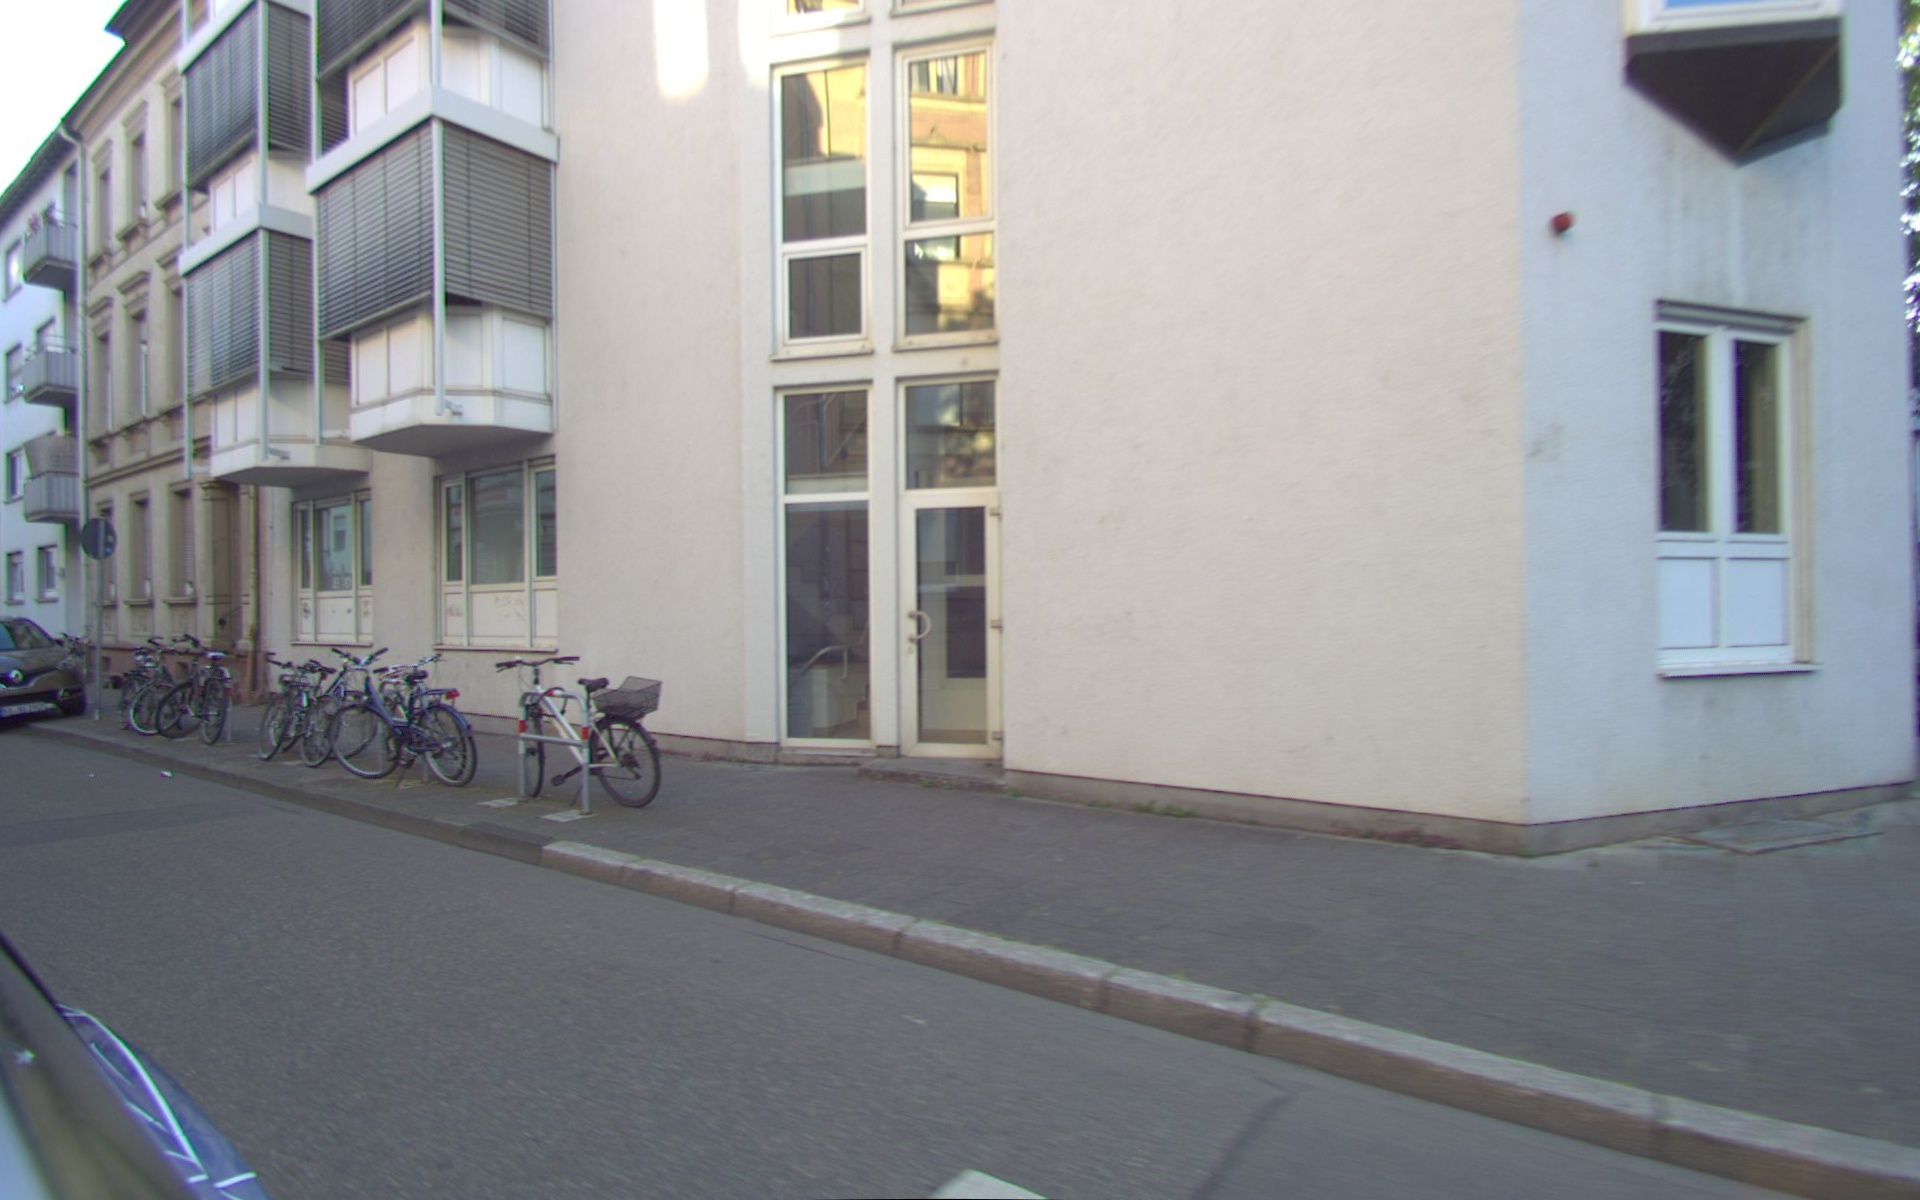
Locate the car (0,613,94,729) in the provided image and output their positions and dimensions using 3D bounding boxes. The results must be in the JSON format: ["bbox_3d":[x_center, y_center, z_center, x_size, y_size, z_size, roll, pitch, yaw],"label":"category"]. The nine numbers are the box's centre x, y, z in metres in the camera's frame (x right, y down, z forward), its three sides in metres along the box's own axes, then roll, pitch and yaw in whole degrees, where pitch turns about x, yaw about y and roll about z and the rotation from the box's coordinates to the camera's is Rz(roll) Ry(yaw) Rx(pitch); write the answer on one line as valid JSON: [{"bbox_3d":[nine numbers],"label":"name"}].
[{"bbox_3d":[-14.915,1.038,15.351,4.061,1.588,1.775,-1,-1,36],"label":"car"}]

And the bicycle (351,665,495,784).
[{"bbox_3d":[-4.768,1.063,8.930,1.808,0.939,0.304,-2,-1,34],"label":"bicycle"}]

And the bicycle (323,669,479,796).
[{"bbox_3d":[-4.721,1.075,8.502,1.807,0.939,0.304,-2,-1,32],"label":"bicycle"}]

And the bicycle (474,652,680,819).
[{"bbox_3d":[-2.891,0.955,7.551,1.806,1.110,0.397,-2,0,31],"label":"bicycle"}]

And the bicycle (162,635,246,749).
[{"bbox_3d":[-8.793,1.030,11.748,1.810,1.232,0.304,-2,0,38],"label":"bicycle"}]

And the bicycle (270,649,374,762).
[{"bbox_3d":[-6.577,1.047,10.401,1.810,1.050,0.304,-2,0,38],"label":"bicycle"}]

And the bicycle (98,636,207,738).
[{"bbox_3d":[-10.453,1.079,13.075,2.262,1.196,0.590,-2,0,38],"label":"bicycle"}]

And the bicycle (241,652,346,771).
[{"bbox_3d":[-6.603,1.061,9.993,1.810,1.050,0.304,-2,0,38],"label":"bicycle"}]
